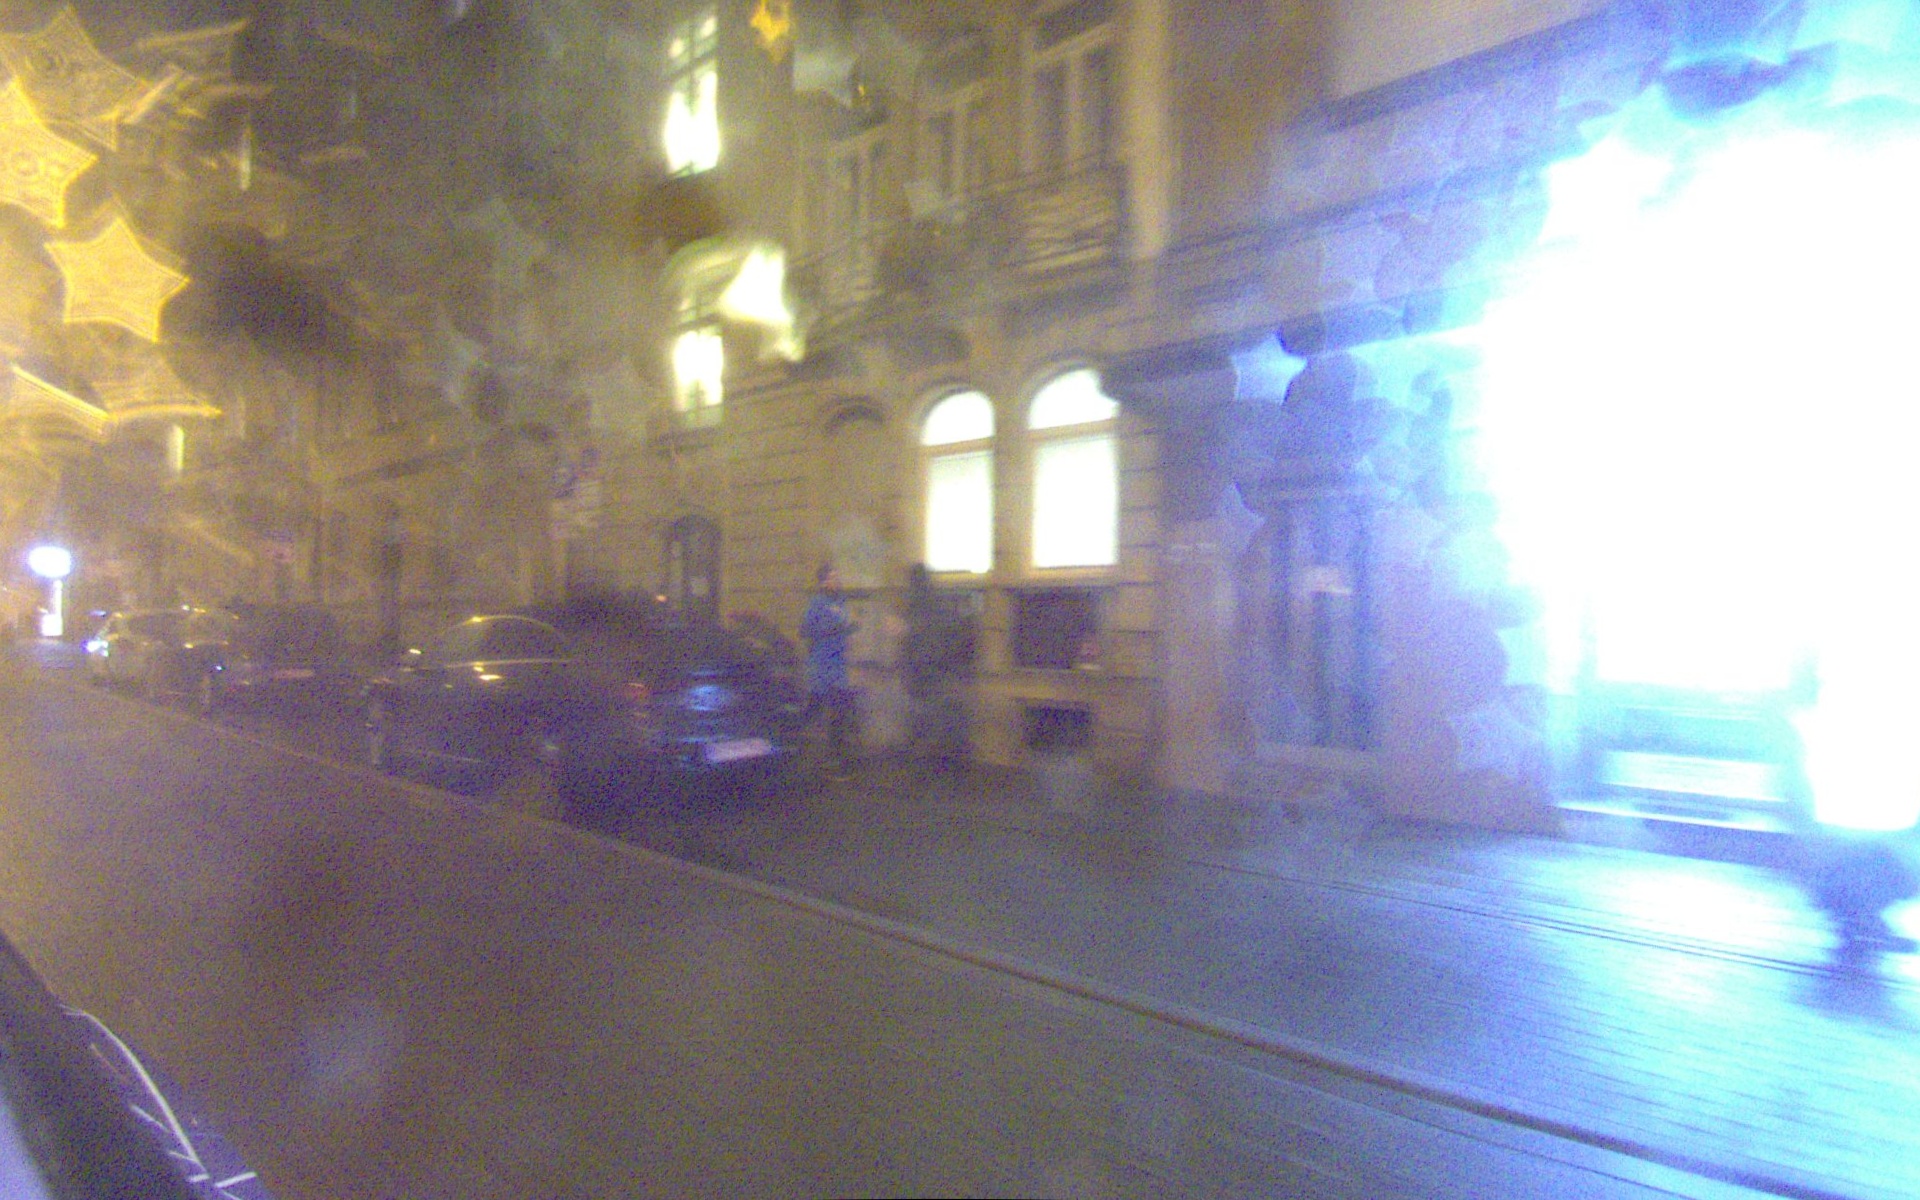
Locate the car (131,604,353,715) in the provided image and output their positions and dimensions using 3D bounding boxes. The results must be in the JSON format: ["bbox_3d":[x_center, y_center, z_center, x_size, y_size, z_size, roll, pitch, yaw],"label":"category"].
[{"bbox_3d":[-11.122,0.832,15.573,4.154,1.489,1.699,-1,-1,39],"label":"car"}]

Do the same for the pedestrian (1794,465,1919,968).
[{"bbox_3d":[4.160,0.437,3.914,1.414,1.877,0.946,-1,-2,40],"label":"pedestrian"}]

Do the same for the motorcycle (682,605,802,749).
[{"bbox_3d":[-2.425,0.808,11.193,1.457,1.482,0.531,-1,-1,41],"label":"motorcycle"}]

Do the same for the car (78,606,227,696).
[{"bbox_3d":[-15.143,0.885,18.911,3.786,1.489,1.697,-1,0,44],"label":"car"}]

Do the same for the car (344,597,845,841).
[{"bbox_3d":[-3.332,0.764,8.552,5.029,1.489,1.827,-1,-1,42],"label":"car"}]

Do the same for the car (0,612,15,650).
[{"bbox_3d":[-39.701,1.258,40.923,3.733,1.489,1.828,-1,0,41],"label":"car"}]

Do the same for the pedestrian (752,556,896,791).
[{"bbox_3d":[-1.158,0.579,8.557,1.078,1.846,0.667,-1,-1,43],"label":"pedestrian"}]

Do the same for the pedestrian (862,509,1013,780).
[{"bbox_3d":[-0.207,0.383,9.114,1.116,2.258,0.791,-1,-2,40],"label":"pedestrian"}]
